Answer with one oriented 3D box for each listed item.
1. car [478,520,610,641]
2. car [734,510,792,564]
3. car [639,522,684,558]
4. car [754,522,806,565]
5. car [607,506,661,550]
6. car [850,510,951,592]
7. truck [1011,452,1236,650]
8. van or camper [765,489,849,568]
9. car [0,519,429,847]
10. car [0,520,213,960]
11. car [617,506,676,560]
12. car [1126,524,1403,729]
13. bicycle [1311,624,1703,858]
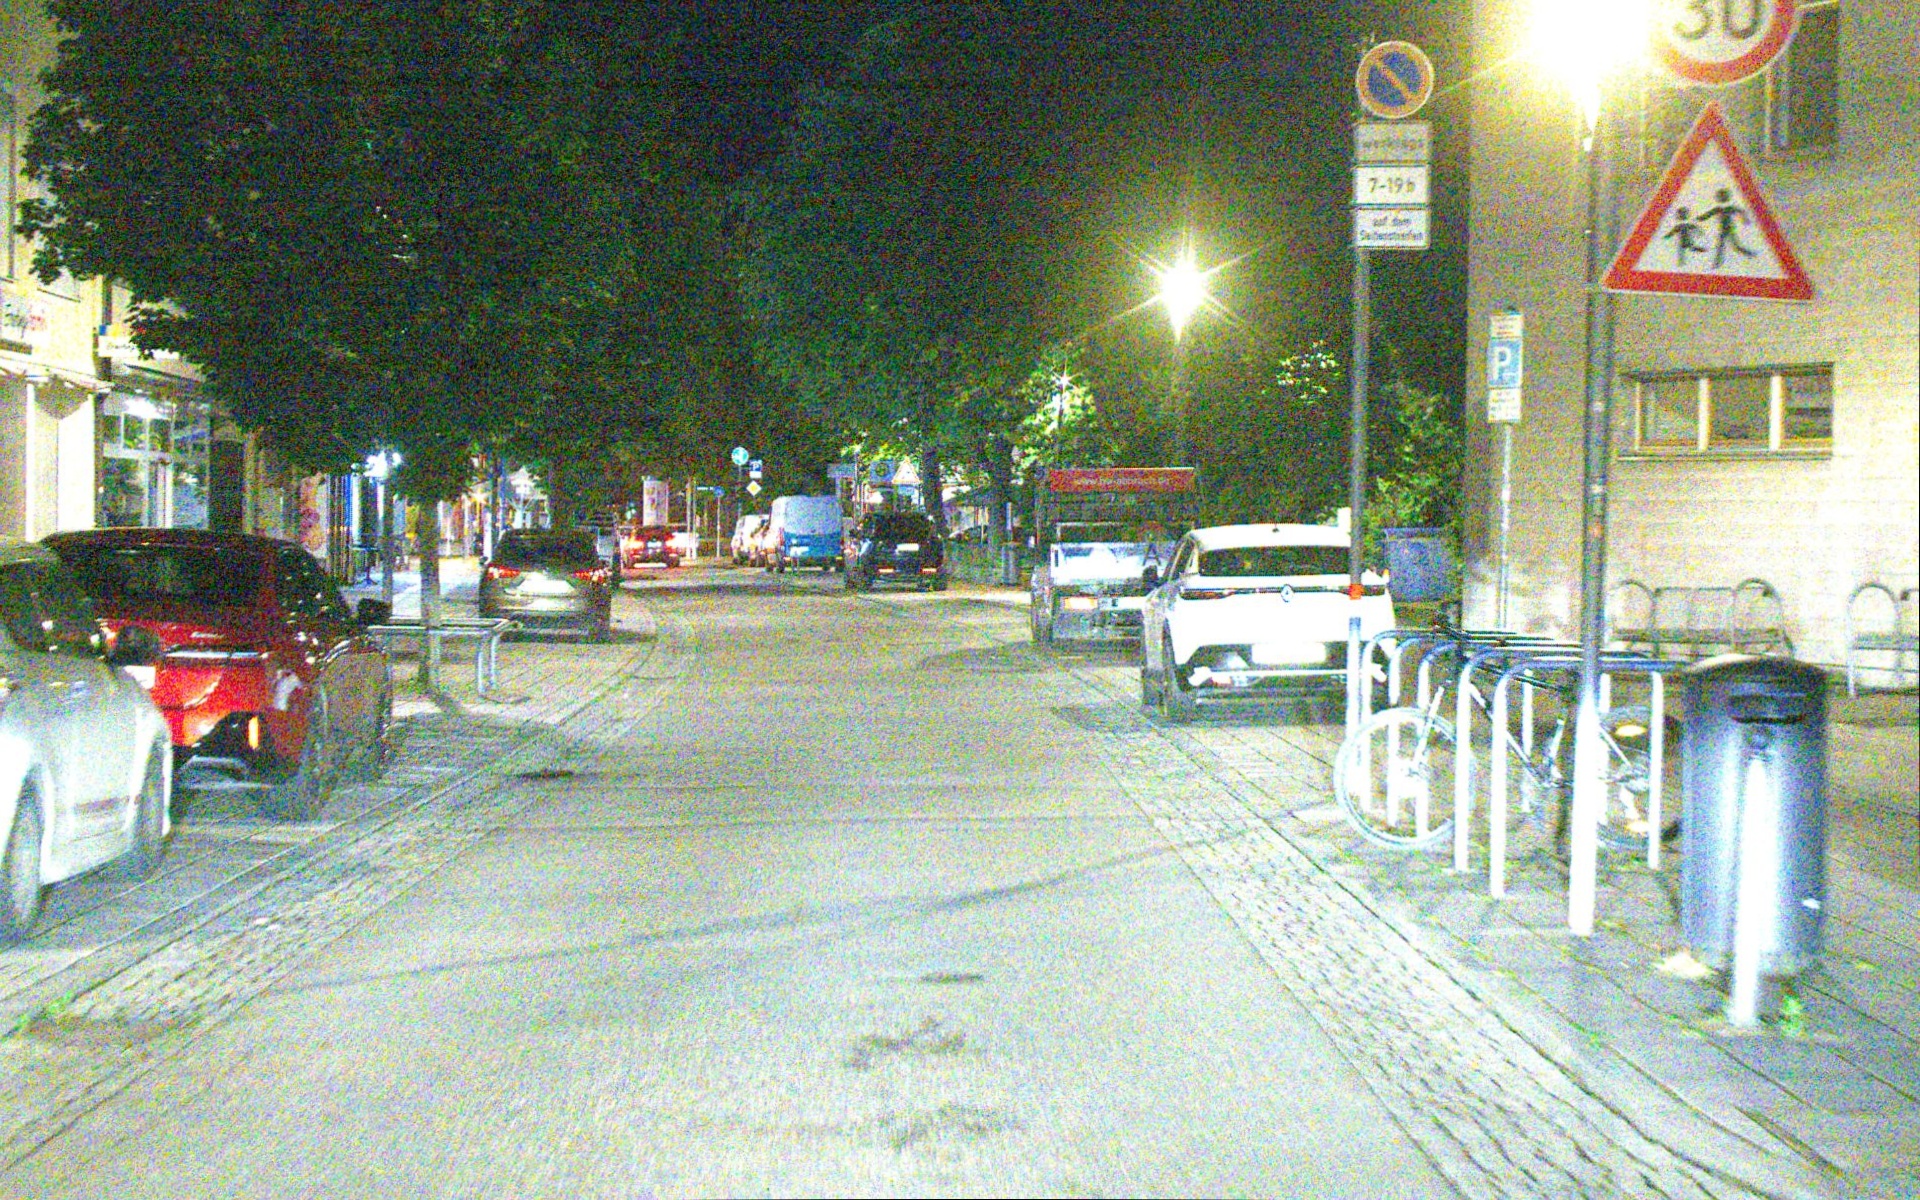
[{"bbox_3d":[-5.700,-0.304,47.005,1.673,1.538,4.232,1,1,-7],"label":"car"},{"bbox_3d":[-7.069,-2.270,122.981,1.839,1.894,3.846,0,1,-7],"label":"car"},{"bbox_3d":[-13.011,-2.633,149.913,1.839,1.537,3.846,0,1,-7],"label":"car"},{"bbox_3d":[-6.132,-1.928,116.881,1.531,1.413,3.846,0,1,-7],"label":"car"},{"bbox_3d":[-12.732,-2.811,134.132,1.993,1.697,4.001,0,1,-6],"label":"car"},{"bbox_3d":[-1.384,-1.139,78.277,1.814,1.822,4.348,0,1,-7],"label":"car"},{"bbox_3d":[1.947,-0.646,42.914,2.336,2.304,5.781,0,1,-2],"label":"truck"},{"bbox_3d":[-4.651,-2.174,104.192,2.108,2.309,4.263,-1,2,-8],"label":"van or camper"},{"bbox_3d":[-4.315,0.347,19.191,2.019,1.483,5.008,3,1,-2],"label":"car"},{"bbox_3d":[-4.176,0.423,13.586,1.728,1.471,3.847,1,1,-2],"label":"car"},{"bbox_3d":[-10.981,-2.353,120.278,1.993,1.817,4.001,0,1,-6],"label":"car"},{"bbox_3d":[2.349,0.152,27.411,1.789,1.486,4.059,-1,1,-1],"label":"car"},{"bbox_3d":[2.530,0.648,15.940,1.754,1.058,0.346,0,1,-4],"label":"bicycle"}]
